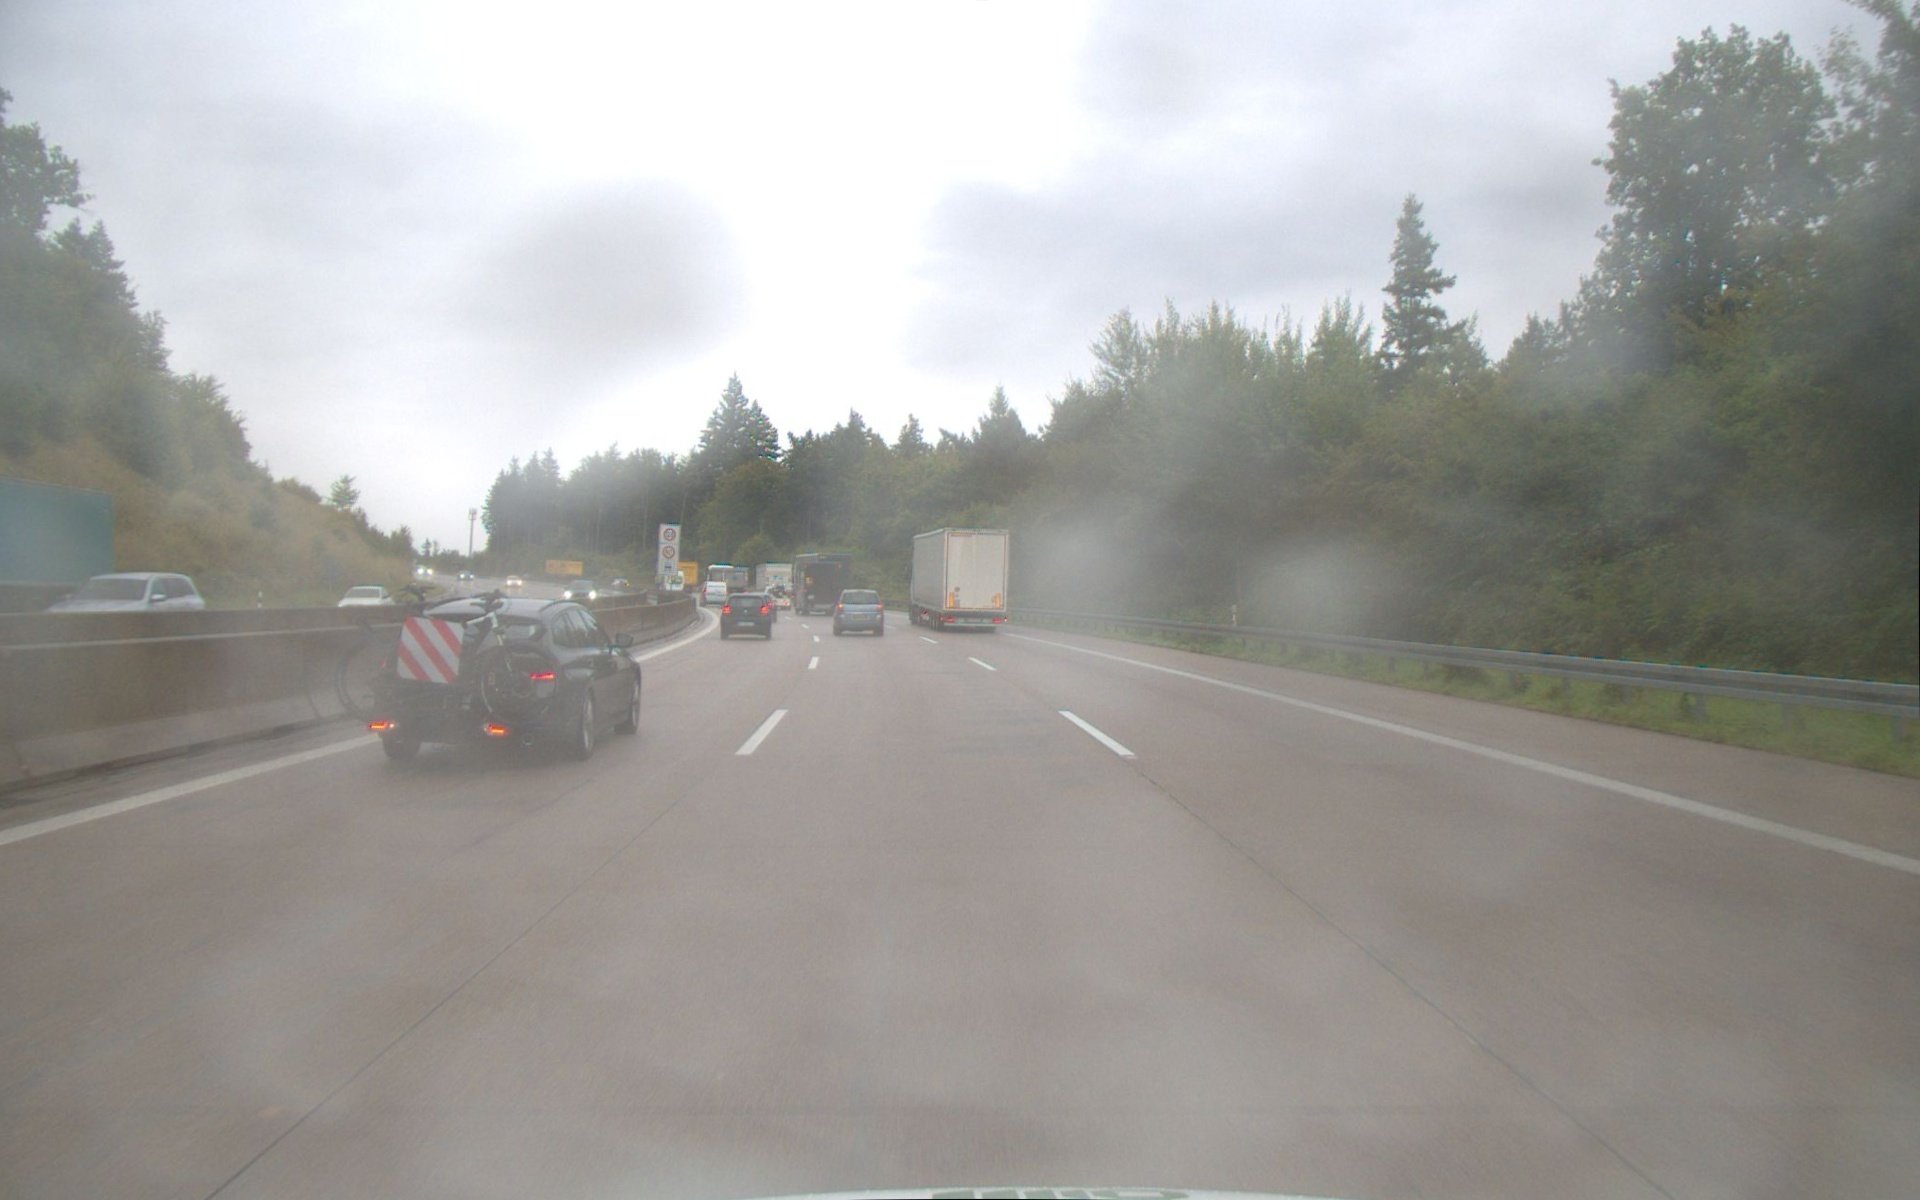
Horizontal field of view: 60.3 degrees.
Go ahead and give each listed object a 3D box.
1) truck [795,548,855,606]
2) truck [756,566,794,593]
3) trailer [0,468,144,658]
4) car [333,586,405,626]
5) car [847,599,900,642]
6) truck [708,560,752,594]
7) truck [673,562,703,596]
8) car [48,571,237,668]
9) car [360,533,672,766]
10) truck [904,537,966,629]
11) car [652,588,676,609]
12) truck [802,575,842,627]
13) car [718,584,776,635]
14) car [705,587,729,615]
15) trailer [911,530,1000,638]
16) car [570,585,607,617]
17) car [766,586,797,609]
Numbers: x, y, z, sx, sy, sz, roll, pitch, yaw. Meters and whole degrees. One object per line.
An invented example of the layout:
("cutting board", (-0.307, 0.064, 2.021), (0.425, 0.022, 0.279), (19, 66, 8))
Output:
("truck", (-10.352, -1.732, 125.992), (3.309, 4.203, 10.408), (1, 1, -11))
("truck", (-17.688, -1.940, 157.748), (2.922, 2.349, 6.648), (3, 0, -12))
("trailer", (-21.479, -0.780, 35.650), (2.849, 3.957, 11.029), (1, 0, -3))
("car", (-24.704, 0.247, 69.249), (1.696, 1.603, 4.241), (0, 0, -4))
("car", (-3.058, 0.711, 59.032), (1.522, 1.375, 3.684), (3, 0, 1))
("truck", (-21.512, -2.159, 154.397), (3.031, 2.956, 7.872), (1, 1, -15))
("truck", (-35.066, -2.625, 213.580), (3.670, 4.283, 6.806), (0, 0, -8))
("car", (-16.415, 0.361, 33.489), (1.696, 1.807, 4.755), (0, 0, -3))
("car", (-4.323, 0.401, 17.190), (1.869, 1.979, 6.159), (0, 0, -3))
("truck", (-1.196, -0.793, 77.076), (2.373, 4.139, 4.971), (1, 0, -6))
("car", (-30.111, -0.129, 168.200), (1.961, 2.095, 3.983), (0, 0, -16))
("truck", (-8.361, 0.007, 100.288), (2.225, 2.937, 7.896), (1, 1, -5))
("car", (-6.829, 0.274, 53.168), (1.651, 1.487, 3.680), (3, 0, -5))
("car", (-18.207, 0.099, 123.820), (1.694, 2.049, 3.648), (0, 0, -10))
("trailer", (-0.339, -0.696, 70.160), (2.373, 4.139, 12.037), (1, 1, -7))
("car", (-22.070, 0.051, 98.423), (1.698, 1.807, 4.751), (0, 0, -7))
("car", (-12.477, -0.161, 115.713), (1.844, 1.498, 3.998), (3, 0, -3))
